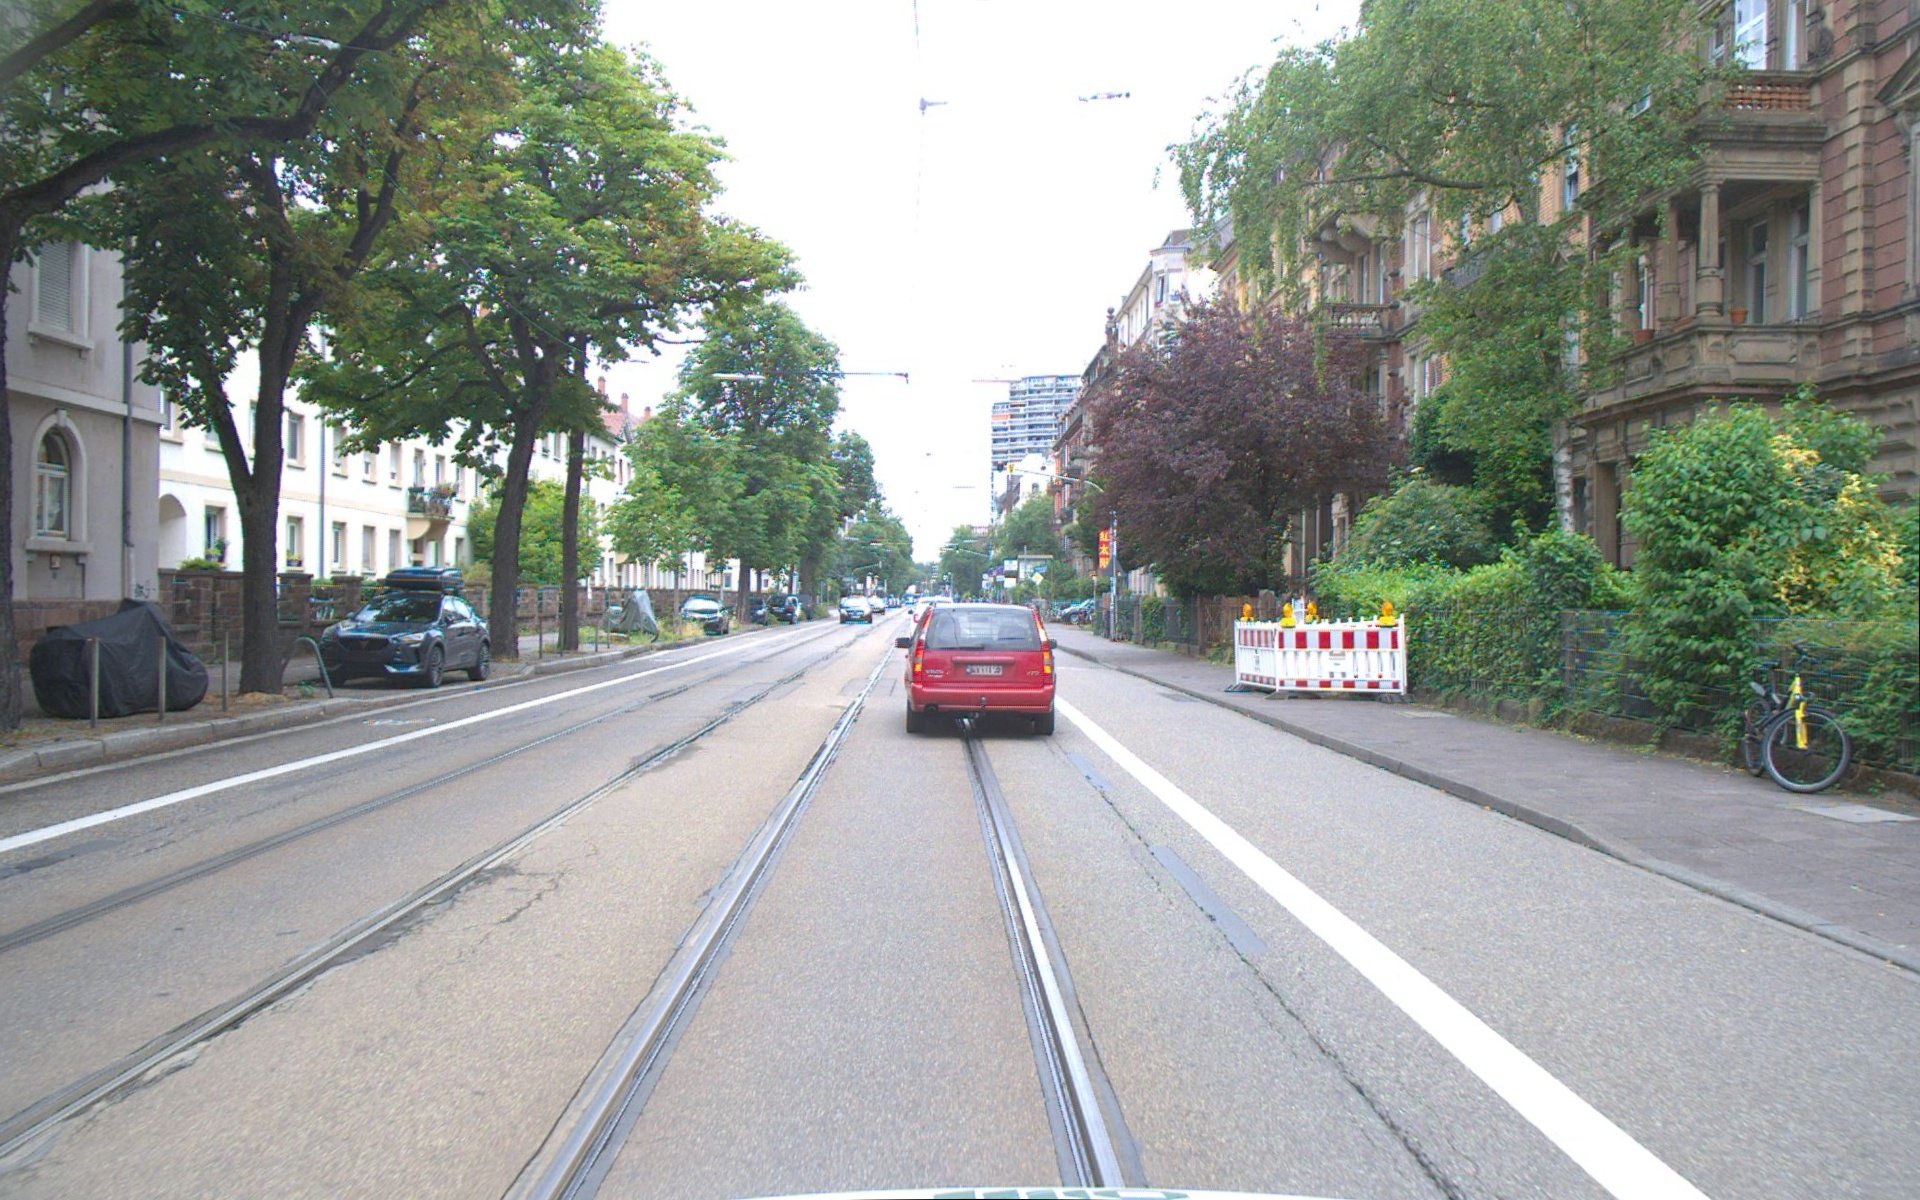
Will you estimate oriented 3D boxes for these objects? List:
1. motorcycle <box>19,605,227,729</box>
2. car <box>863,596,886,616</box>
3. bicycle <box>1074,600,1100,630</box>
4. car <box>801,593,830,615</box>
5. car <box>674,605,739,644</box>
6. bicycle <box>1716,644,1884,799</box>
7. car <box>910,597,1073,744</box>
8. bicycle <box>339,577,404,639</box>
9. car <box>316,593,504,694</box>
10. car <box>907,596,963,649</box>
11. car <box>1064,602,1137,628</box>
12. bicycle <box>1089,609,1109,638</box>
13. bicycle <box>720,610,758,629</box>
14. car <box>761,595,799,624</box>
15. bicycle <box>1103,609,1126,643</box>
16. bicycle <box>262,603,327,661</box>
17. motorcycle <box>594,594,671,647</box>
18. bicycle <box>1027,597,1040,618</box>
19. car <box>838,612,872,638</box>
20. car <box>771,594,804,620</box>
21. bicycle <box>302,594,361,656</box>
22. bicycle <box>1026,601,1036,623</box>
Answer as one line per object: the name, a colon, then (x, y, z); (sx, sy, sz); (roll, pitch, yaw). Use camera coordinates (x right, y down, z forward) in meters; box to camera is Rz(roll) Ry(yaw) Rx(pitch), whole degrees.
motorcycle: (-9.562, 0.727, 19.020); (0.845, 1.310, 2.324); (1, 0, 12)
car: (-7.359, 0.487, 142.838); (1.855, 1.639, 4.499); (1, 0, -2)
bicycle: (6.694, 0.788, 86.767); (0.898, 1.533, 2.382); (1, 0, 15)
car: (-9.754, 0.263, 112.053); (1.685, 1.512, 3.999); (0, 0, -1)
car: (-9.891, 0.925, 64.839); (1.851, 1.422, 4.416); (1, 0, 0)
bicycle: (6.417, 0.900, 12.716); (0.469, 1.063, 1.531); (-2, 0, -1)
car: (0.289, 0.737, 19.106); (1.655, 1.466, 3.742); (2, 0, -1)
bicycle: (-13.864, 0.183, 39.032); (0.776, 1.406, 2.140); (0, 0, -1)
car: (-9.178, 0.671, 27.966); (1.741, 1.537, 4.237); (1, 0, 0)
car: (-0.790, 0.695, 53.692); (1.683, 1.653, 3.941); (1, 0, 1)
car: (7.741, 0.812, 90.973); (3.902, 1.385, 1.894); (0, 0, 9)
bicycle: (5.105, 0.851, 60.854); (0.512, 1.048, 2.176); (0, 0, -1)
bicycle: (-10.667, 0.937, 79.931); (1.713, 0.858, 0.684); (1, 0, 0)
car: (-10.208, 0.509, 94.059); (1.813, 1.590, 3.942); (1, 0, -1)
bicycle: (5.245, 0.865, 56.170); (0.512, 1.119, 2.176); (1, 0, -1)
bicycle: (-15.599, 0.729, 38.828); (0.733, 1.321, 2.140); (0, 0, -3)
motorcycle: (-9.836, 0.622, 49.647); (2.225, 1.538, 0.924); (0, -2, 34)
bicycle: (4.533, 0.468, 102.406); (0.694, 1.323, 1.904); (0, 0, -1)
car: (-5.845, 1.373, 92.351); (1.720, 1.404, 4.025); (1, 0, -2)
car: (-11.006, 0.426, 105.776); (1.678, 1.608, 3.999); (2, 0, -1)
bicycle: (-14.761, 0.576, 38.902); (0.615, 1.406, 2.140); (0, 0, -1)
bicycle: (4.539, 0.766, 106.266); (0.540, 1.424, 1.733); (0, 0, -1)
